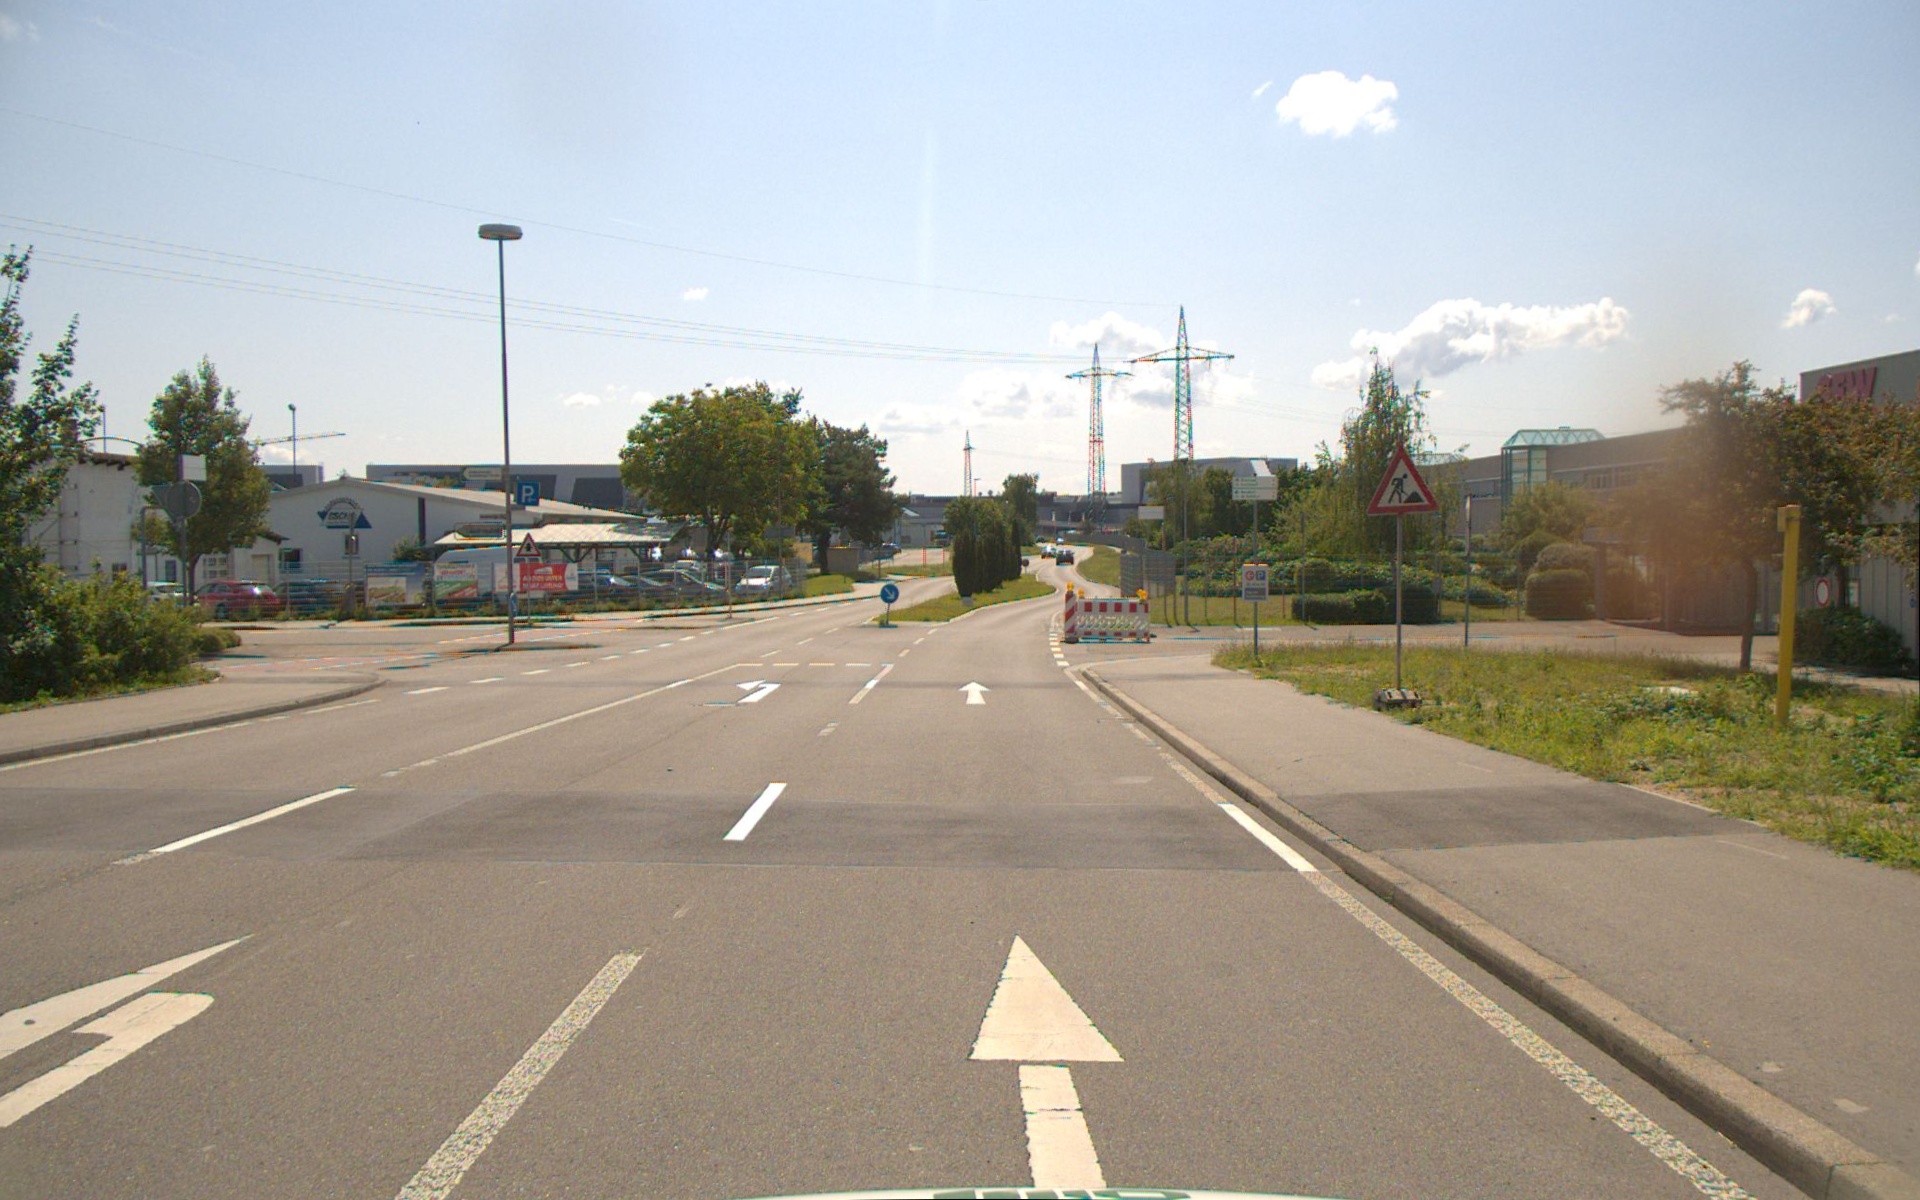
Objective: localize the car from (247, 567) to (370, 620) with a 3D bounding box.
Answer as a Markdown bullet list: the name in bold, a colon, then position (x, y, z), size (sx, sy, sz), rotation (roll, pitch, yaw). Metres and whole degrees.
- **car**: position (-22.590, -0.245, 57.304), size (3.914, 1.682, 1.996), rotation (2, 3, 31)

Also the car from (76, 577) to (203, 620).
- **car**: position (-26.974, -0.057, 54.379), size (3.841, 1.362, 1.724), rotation (0, 1, 25)

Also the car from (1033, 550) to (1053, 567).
- **car**: position (10.698, -5.327, 211.919), size (2.438, 2.048, 4.669), rotation (0, 3, 4)

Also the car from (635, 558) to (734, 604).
- **car**: position (-12.367, -0.875, 74.313), size (3.905, 1.936, 2.001), rotation (1, 3, 21)

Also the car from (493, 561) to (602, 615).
- **car**: position (-16.237, -0.501, 65.100), size (3.915, 1.936, 1.996), rotation (2, 3, 32)

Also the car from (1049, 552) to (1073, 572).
- **car**: position (10.317, -3.886, 169.703), size (2.225, 1.980, 4.666), rotation (3, 1, 2)

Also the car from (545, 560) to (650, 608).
- **car**: position (-14.732, -0.671, 67.194), size (3.915, 1.811, 1.996), rotation (2, 3, 32)

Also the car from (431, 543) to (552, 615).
- **car**: position (-17.881, -0.792, 63.100), size (4.268, 2.654, 1.997), rotation (0, 0, 29)

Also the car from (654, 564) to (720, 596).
- **car**: position (-16.748, -1.241, 101.320), size (3.915, 1.882, 1.830), rotation (-1, 1, -11)

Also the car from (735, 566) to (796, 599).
- **car**: position (-9.539, -0.872, 81.244), size (1.789, 1.544, 3.592), rotation (0, 1, 14)

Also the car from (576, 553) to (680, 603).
- **car**: position (-13.898, -0.951, 69.212), size (3.910, 1.936, 1.998), rotation (1, 3, 27)

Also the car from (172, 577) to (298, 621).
- **car**: position (-24.381, -0.045, 55.627), size (3.913, 1.400, 1.996), rotation (0, 1, 31)

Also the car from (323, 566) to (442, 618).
- **car**: position (-20.702, -0.311, 59.235), size (3.914, 1.708, 1.996), rotation (2, 3, 31)
